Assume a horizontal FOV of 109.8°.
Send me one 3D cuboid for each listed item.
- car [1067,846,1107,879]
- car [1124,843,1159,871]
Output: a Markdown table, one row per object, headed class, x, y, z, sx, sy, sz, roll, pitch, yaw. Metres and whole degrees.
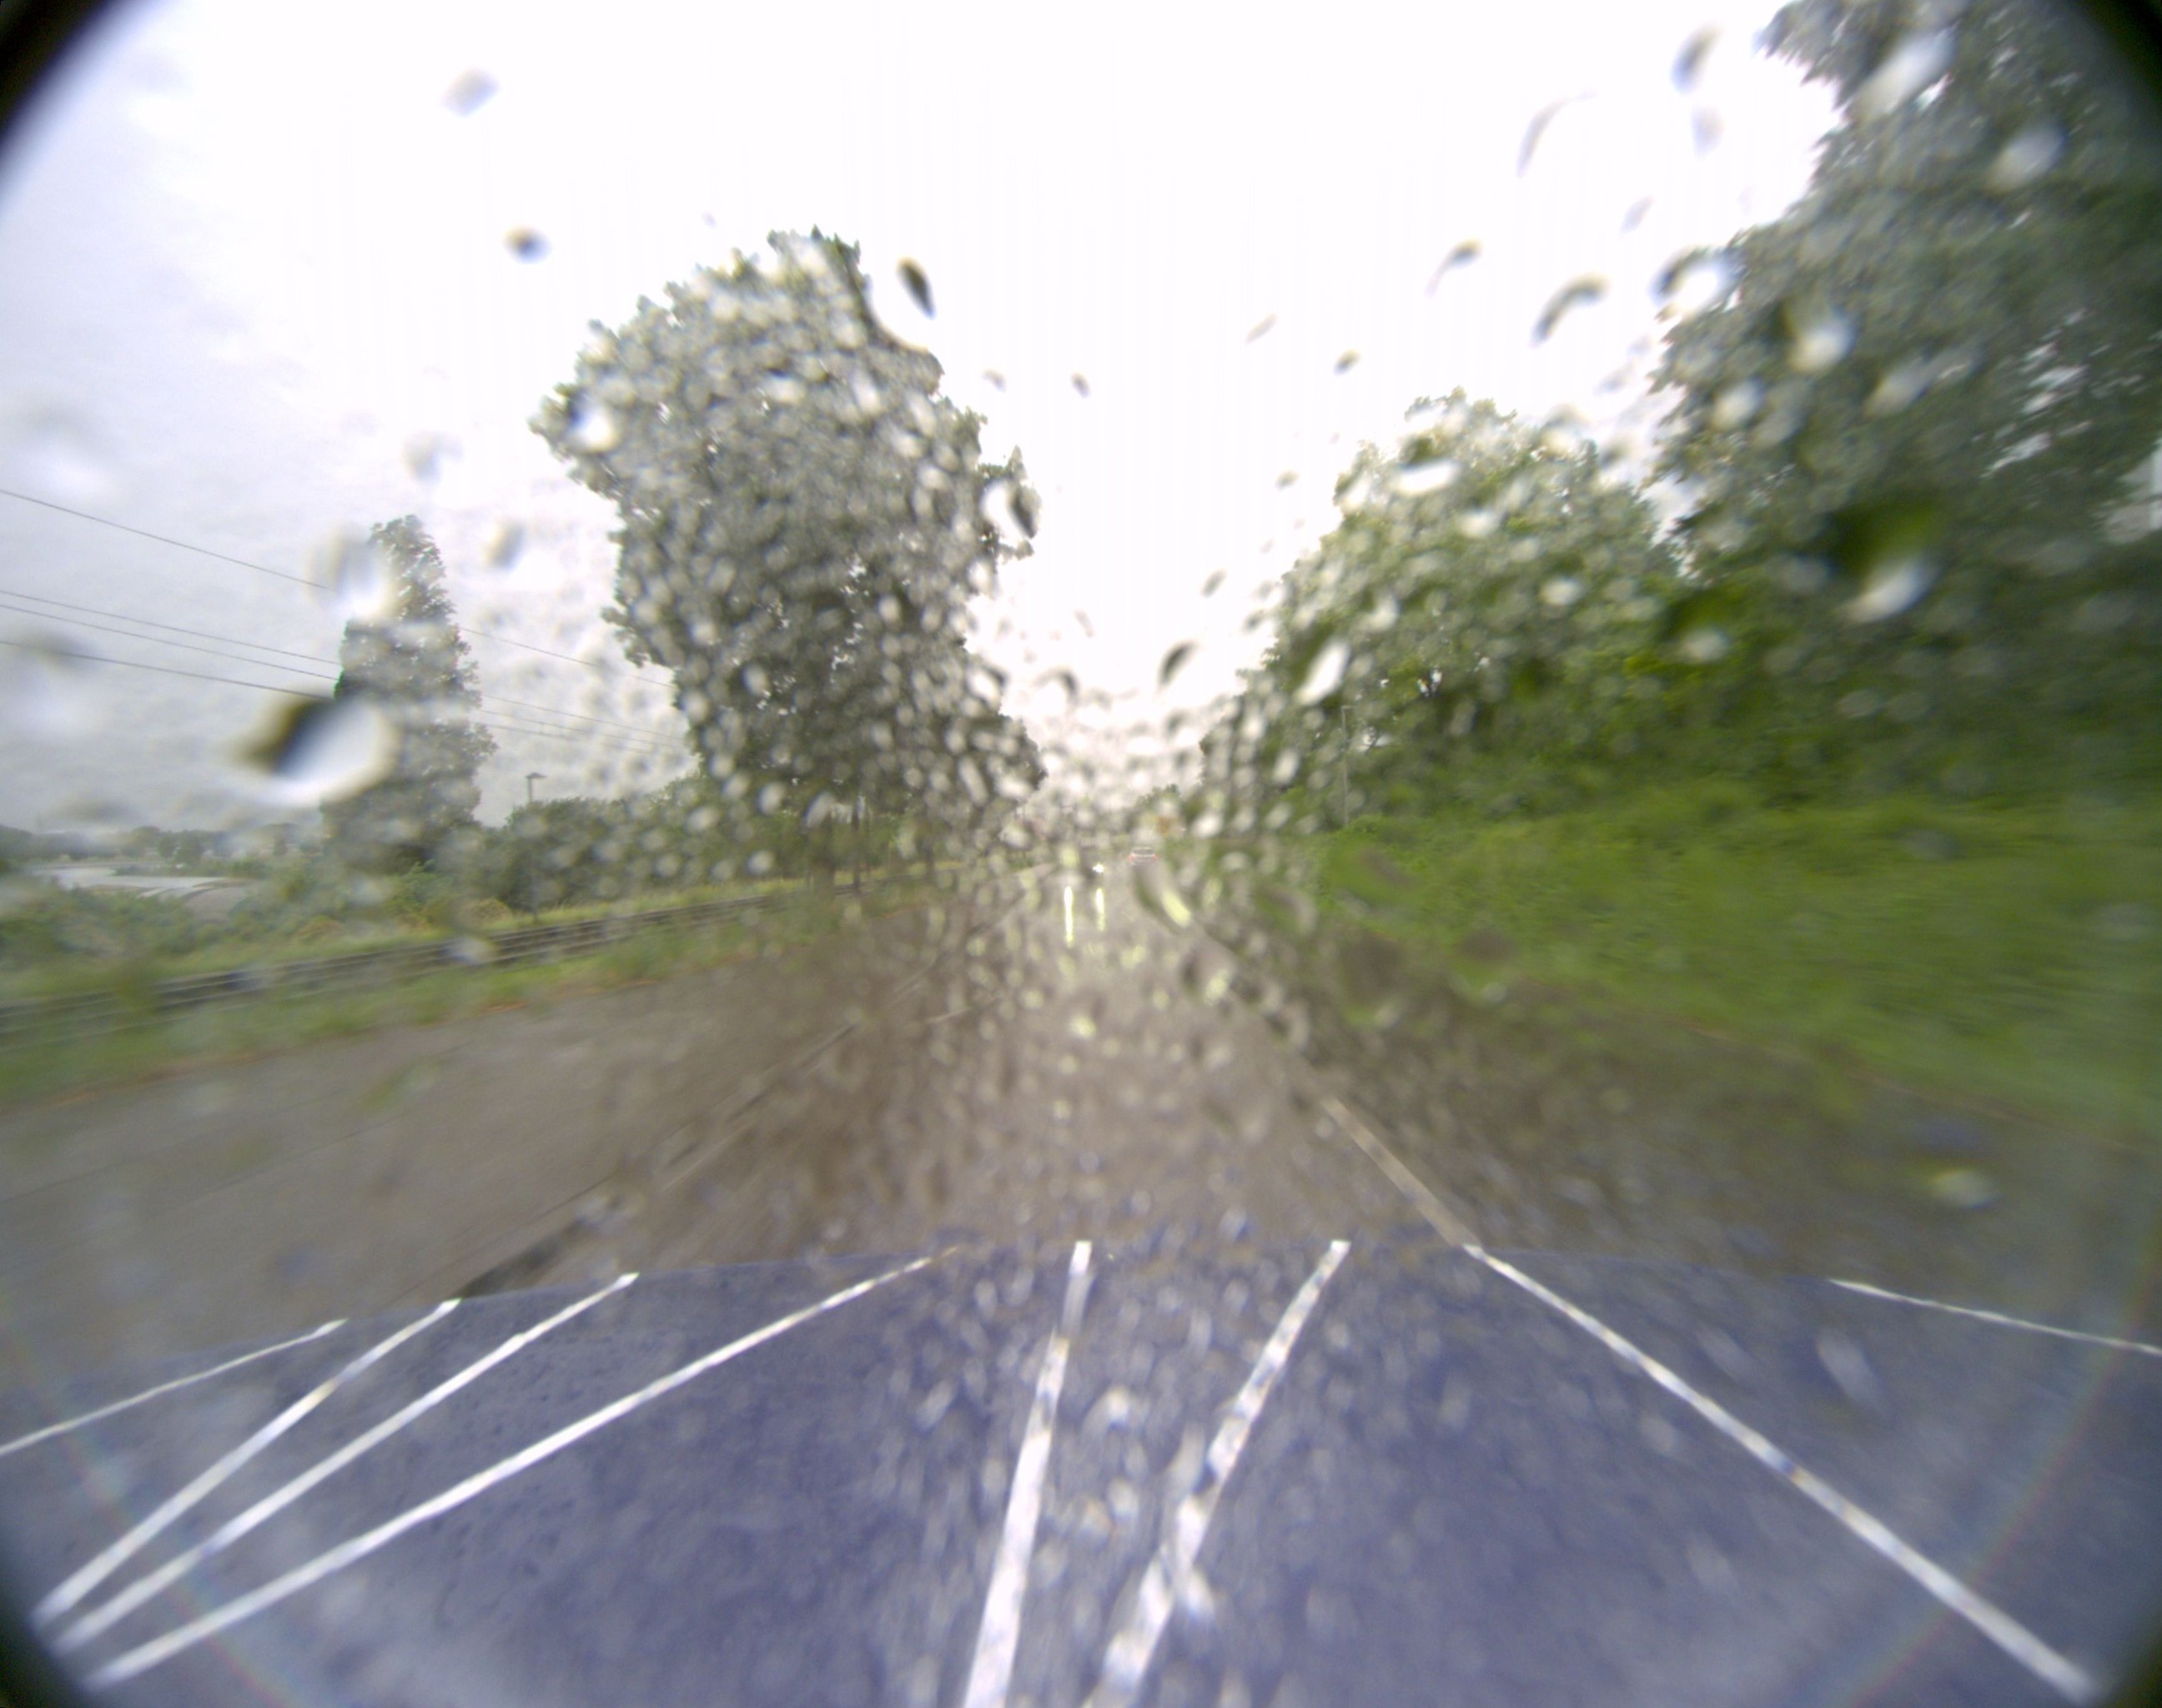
| class | x | y | z | sx | sy | sz | roll | pitch | yaw |
| --- | --- | --- | --- | --- | --- | --- | --- | --- | --- |
| car | 0.318 | 0.363 | 36.332 | 1.764 | 1.477 | 3.791 | -1 | 1 | 2 |
| car | 3.583 | 0.160 | 45.409 | 1.765 | 1.611 | 3.790 | -1 | 1 | 0 |
